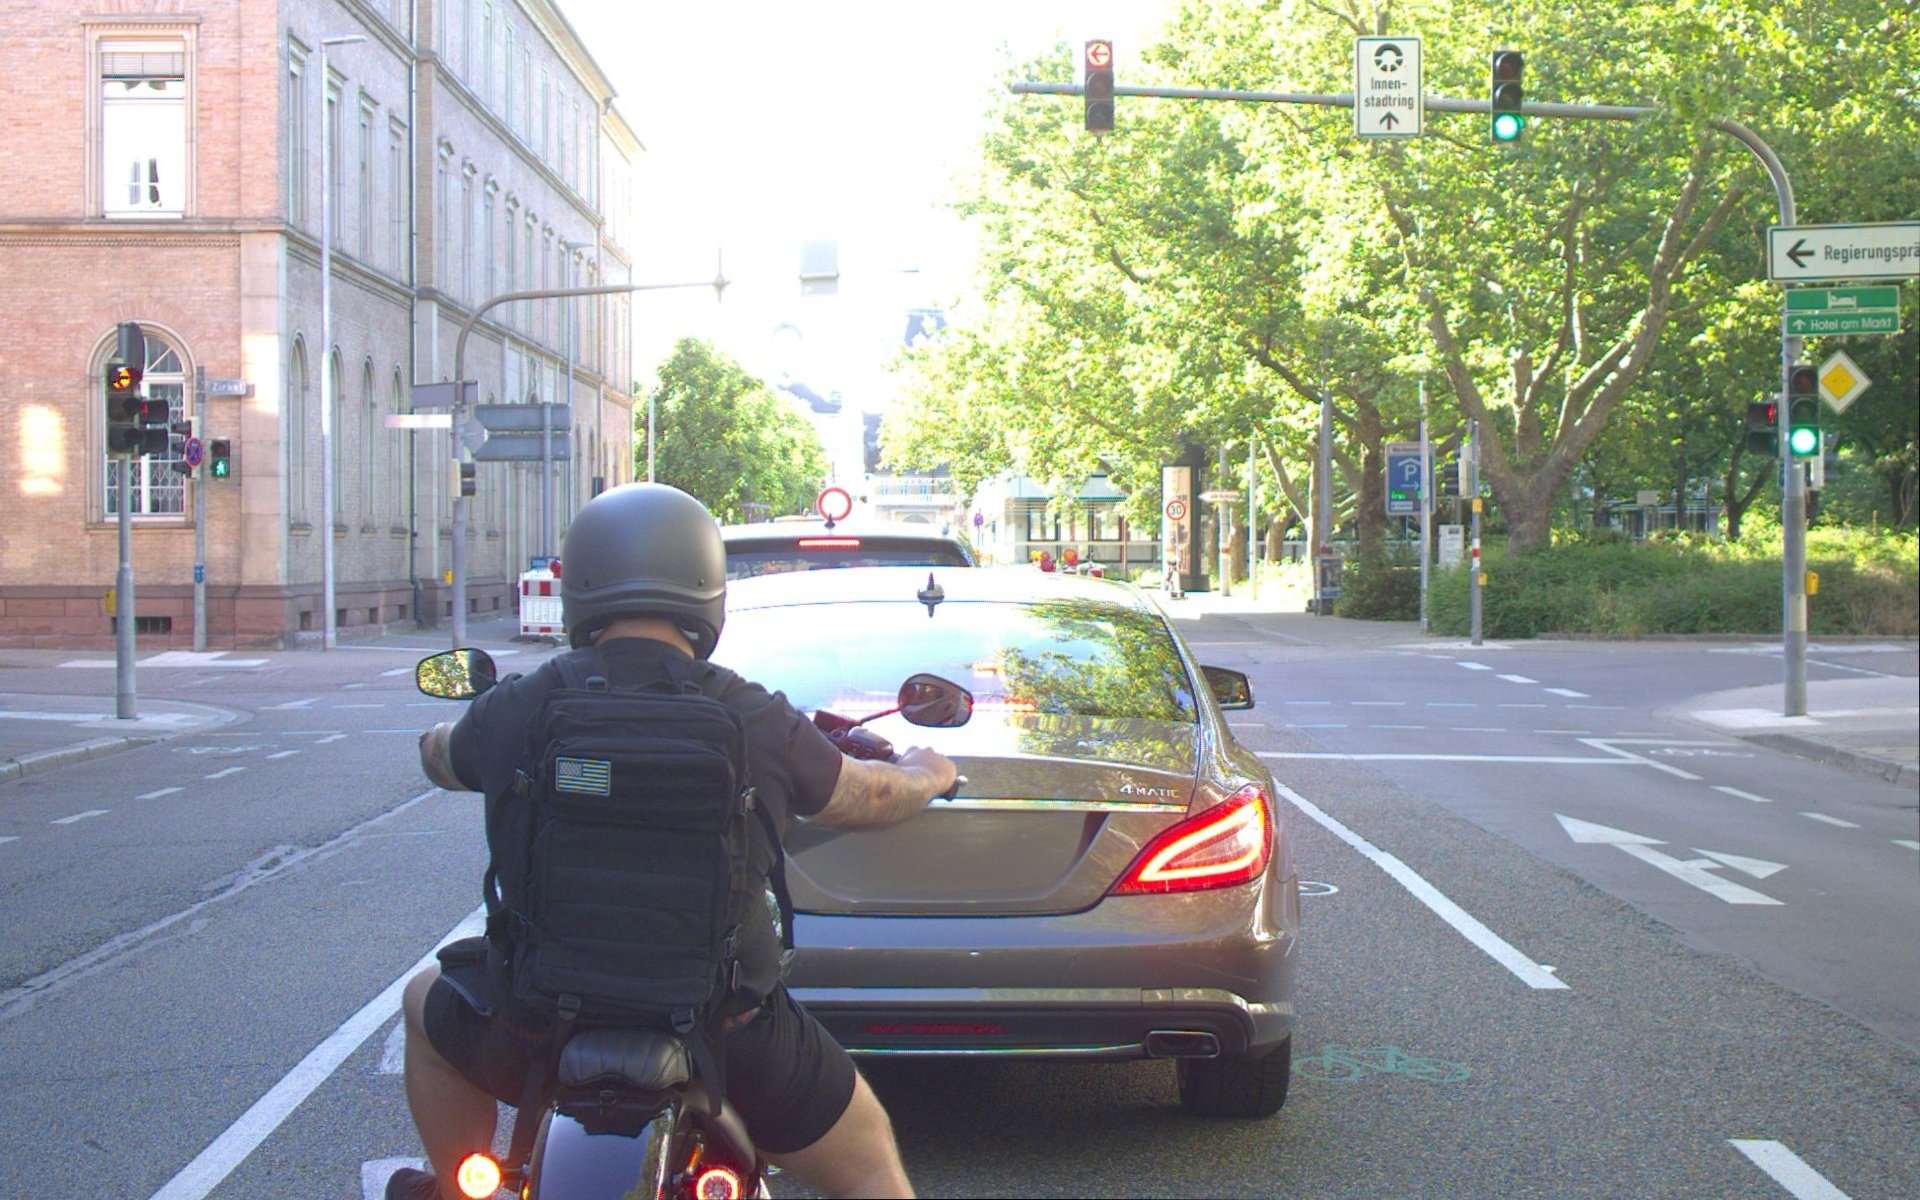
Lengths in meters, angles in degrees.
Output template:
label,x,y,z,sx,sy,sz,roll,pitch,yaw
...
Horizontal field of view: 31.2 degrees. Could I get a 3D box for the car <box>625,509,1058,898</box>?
label,x,y,z,sx,sy,sz,roll,pitch,yaw
car,-0.540,0.432,16.971,1.863,1.672,4.000,1,1,-1

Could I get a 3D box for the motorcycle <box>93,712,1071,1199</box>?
label,x,y,z,sx,sy,sz,roll,pitch,yaw
motorcycle,-0.465,0.837,5.529,1.118,1.203,2.212,1,1,6

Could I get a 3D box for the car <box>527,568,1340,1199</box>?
label,x,y,z,sx,sy,sz,roll,pitch,yaw
car,-0.081,0.639,9.694,1.822,1.432,3.806,1,1,-1

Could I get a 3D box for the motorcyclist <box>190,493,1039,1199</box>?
label,x,y,z,sx,sy,sz,roll,pitch,yaw
motorcyclist,-0.479,0.634,5.305,1.099,1.560,1.071,1,0,6
